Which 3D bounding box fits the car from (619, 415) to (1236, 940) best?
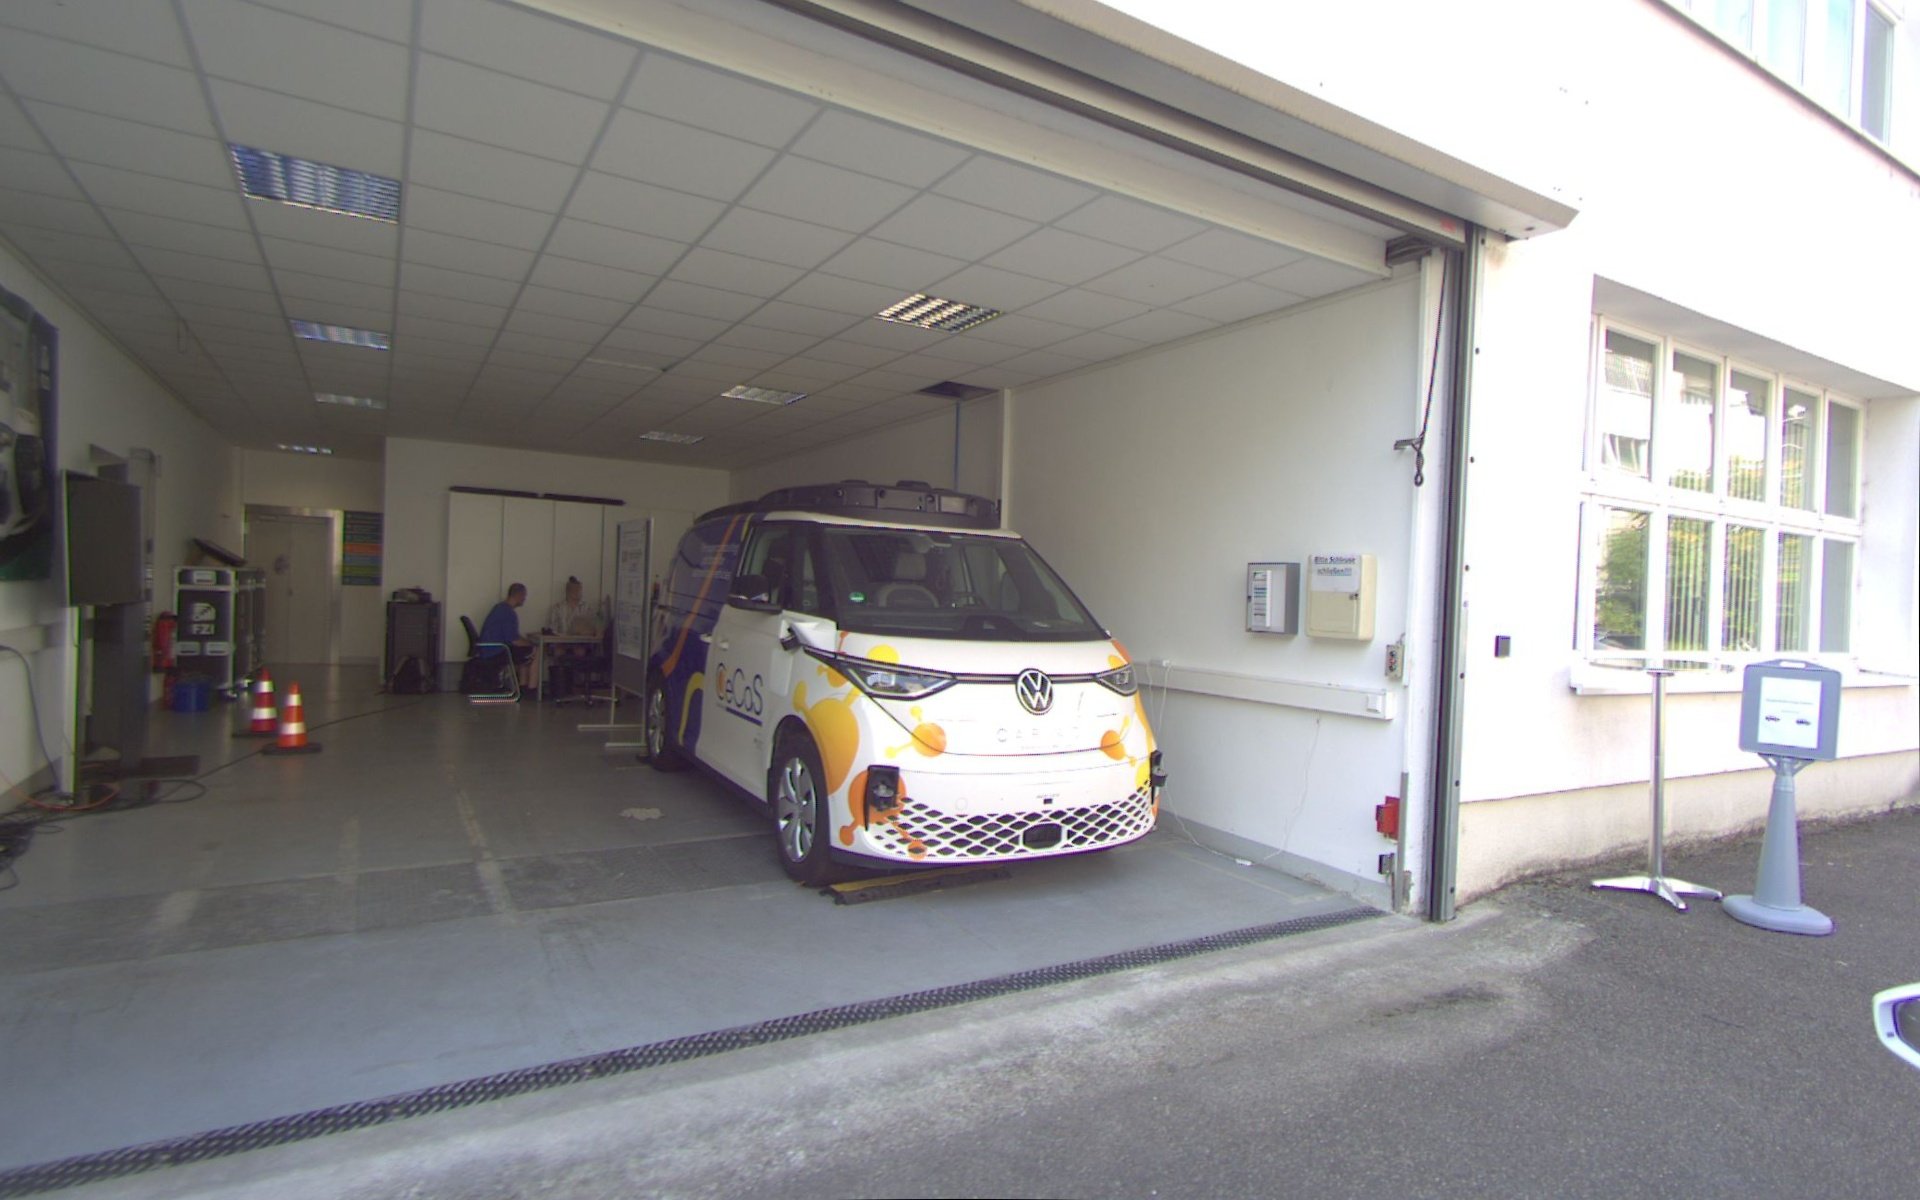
[{"bbox_3d":[-0.693,0.273,6.622,2.031,2.120,4.724,3,1,-30],"label":"car"}]
